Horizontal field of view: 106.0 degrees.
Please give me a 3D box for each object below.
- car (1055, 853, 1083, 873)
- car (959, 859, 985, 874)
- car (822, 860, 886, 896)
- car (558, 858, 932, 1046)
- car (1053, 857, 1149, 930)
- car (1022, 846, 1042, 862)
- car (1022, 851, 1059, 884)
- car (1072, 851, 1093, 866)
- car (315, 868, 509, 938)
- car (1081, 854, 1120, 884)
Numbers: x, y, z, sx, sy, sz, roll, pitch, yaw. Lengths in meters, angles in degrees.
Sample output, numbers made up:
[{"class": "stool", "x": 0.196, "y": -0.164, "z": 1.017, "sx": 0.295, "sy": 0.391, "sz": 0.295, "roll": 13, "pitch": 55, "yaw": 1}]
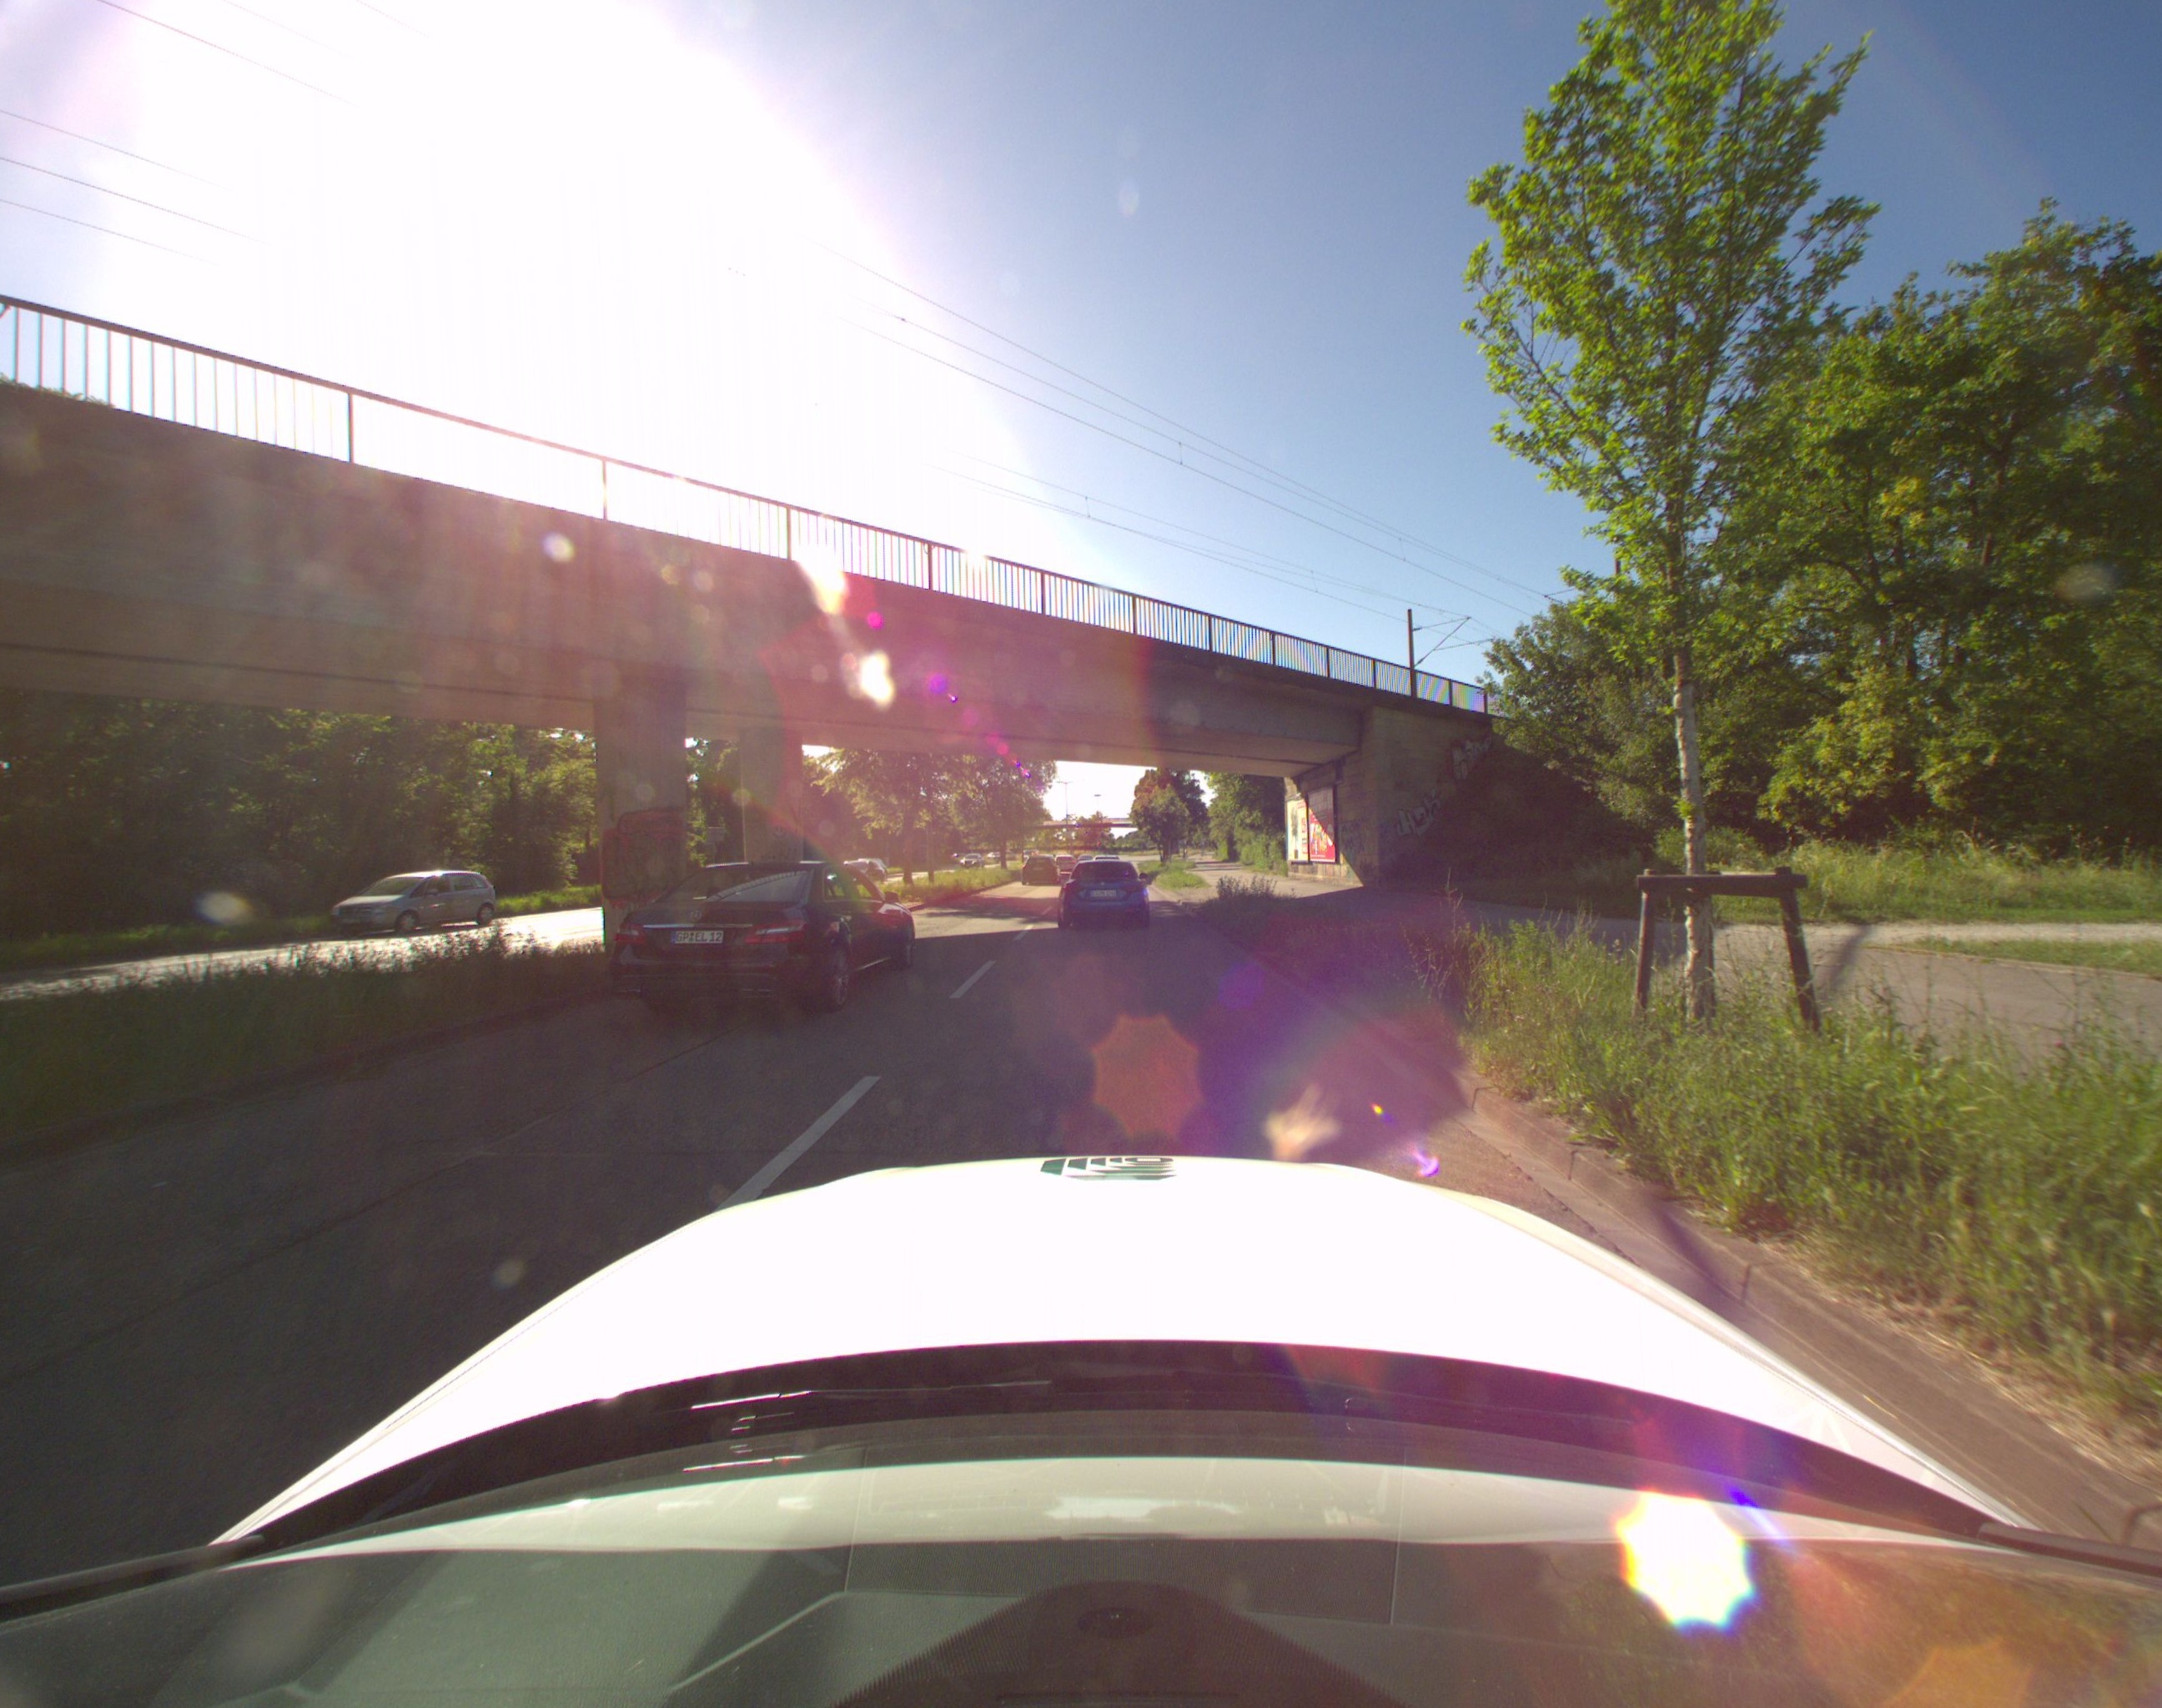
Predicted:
[{"class": "car", "x": -0.897, "y": 0.677, "z": 61.189, "sx": 1.876, "sy": 1.454, "sz": 4.528, "roll": 0, "pitch": 0, "yaw": 2}, {"class": "car", "x": -11.699, "y": 1.349, "z": 87.773, "sx": 1.974, "sy": 1.552, "sz": 4.596, "roll": 0, "pitch": 0, "yaw": 3}, {"class": "car", "x": -11.160, "y": 1.127, "z": 40.355, "sx": 1.835, "sy": 1.543, "sz": 4.002, "roll": -4, "pitch": 0, "yaw": 2}, {"class": "car", "x": -3.215, "y": 0.819, "z": 9.150, "sx": 1.951, "sy": 1.483, "sz": 4.921, "roll": -1, "pitch": 0, "yaw": 2}, {"class": "car", "x": 0.463, "y": 0.776, "z": 17.990, "sx": 1.876, "sy": 1.406, "sz": 4.226, "roll": 0, "pitch": 0, "yaw": 2}, {"class": "car", "x": -6.319, "y": -0.025, "z": 105.215, "sx": 1.986, "sy": 1.929, "sz": 5.247, "roll": -1, "pitch": 0, "yaw": 2}, {"class": "car", "x": -2.046, "y": 0.667, "z": 42.031, "sx": 1.703, "sy": 1.598, "sz": 4.222, "roll": 0, "pitch": 0, "yaw": -1}, {"class": "car", "x": 0.184, "y": 0.452, "z": 78.756, "sx": 1.876, "sy": 1.454, "sz": 4.528, "roll": 0, "pitch": 0, "yaw": 2}, {"class": "car", "x": -18.193, "y": 1.257, "z": 22.458, "sx": 1.722, "sy": 1.616, "sz": 4.181, "roll": -3, "pitch": 0, "yaw": 2}, {"class": "car", "x": 1.030, "y": 0.717, "z": 41.345, "sx": 1.876, "sy": 1.454, "sz": 4.528, "roll": 0, "pitch": 0, "yaw": 2}]
